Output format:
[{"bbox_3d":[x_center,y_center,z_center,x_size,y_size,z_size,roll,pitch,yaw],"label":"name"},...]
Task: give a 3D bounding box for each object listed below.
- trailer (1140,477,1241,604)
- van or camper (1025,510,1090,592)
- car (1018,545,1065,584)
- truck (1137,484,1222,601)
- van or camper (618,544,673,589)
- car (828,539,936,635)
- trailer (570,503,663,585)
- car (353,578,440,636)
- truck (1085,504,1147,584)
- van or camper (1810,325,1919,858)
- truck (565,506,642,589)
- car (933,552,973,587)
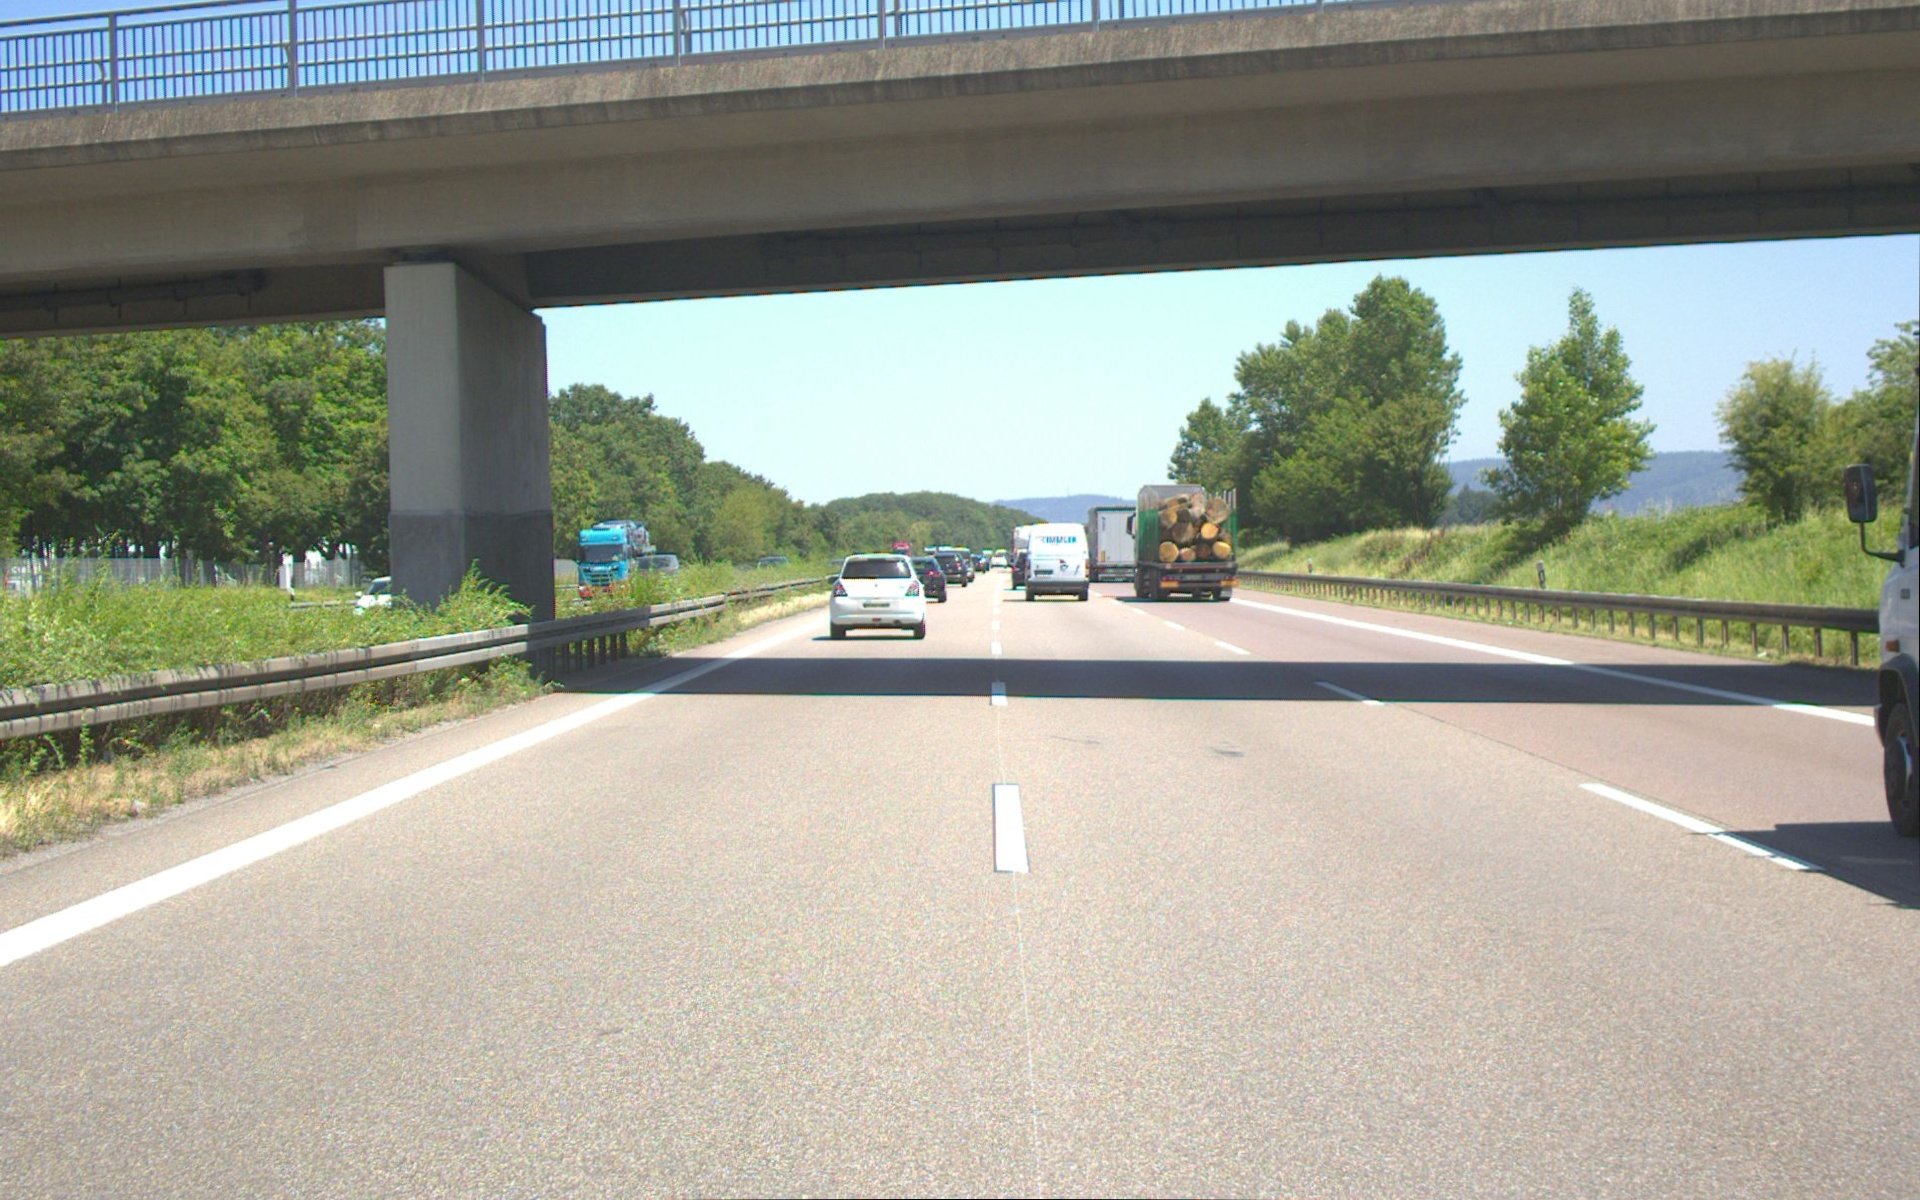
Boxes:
[{"bbox_3d":[7.513,-1.939,113.639,2.653,3.945,13.636,0,1,1],"label":"trailer"},{"bbox_3d":[3.166,-1.592,112.859,2.058,2.613,5.985,0,1,1],"label":"van or camper"},{"bbox_3d":[3.492,-1.506,147.678,1.857,1.646,4.000,0,1,0],"label":"car"},{"bbox_3d":[7.655,-2.007,120.672,2.670,3.981,6.636,0,1,1],"label":"truck"},{"bbox_3d":[-13.911,-1.478,152.166,1.993,1.863,4.456,-2,1,0],"label":"van or camper"},{"bbox_3d":[-1.382,-0.248,62.147,1.857,1.646,4.000,1,1,0],"label":"car"},{"bbox_3d":[-18.108,-2.909,182.330,2.878,3.964,17.475,-4,1,0],"label":"trailer"},{"bbox_3d":[-13.937,0.160,85.184,1.515,1.382,3.167,1,1,2],"label":"car"},{"bbox_3d":[8.582,-3.050,190.365,3.079,4.194,16.842,1,1,2],"label":"truck"},{"bbox_3d":[5.905,-0.031,16.405,2.113,2.694,6.368,0,1,0],"label":"van or camper"},{"bbox_3d":[-18.102,-2.653,174.758,2.878,3.962,7.372,-4,1,0],"label":"truck"},{"bbox_3d":[-0.348,-1.428,162.487,1.857,1.646,4.000,0,1,0],"label":"car"}]
